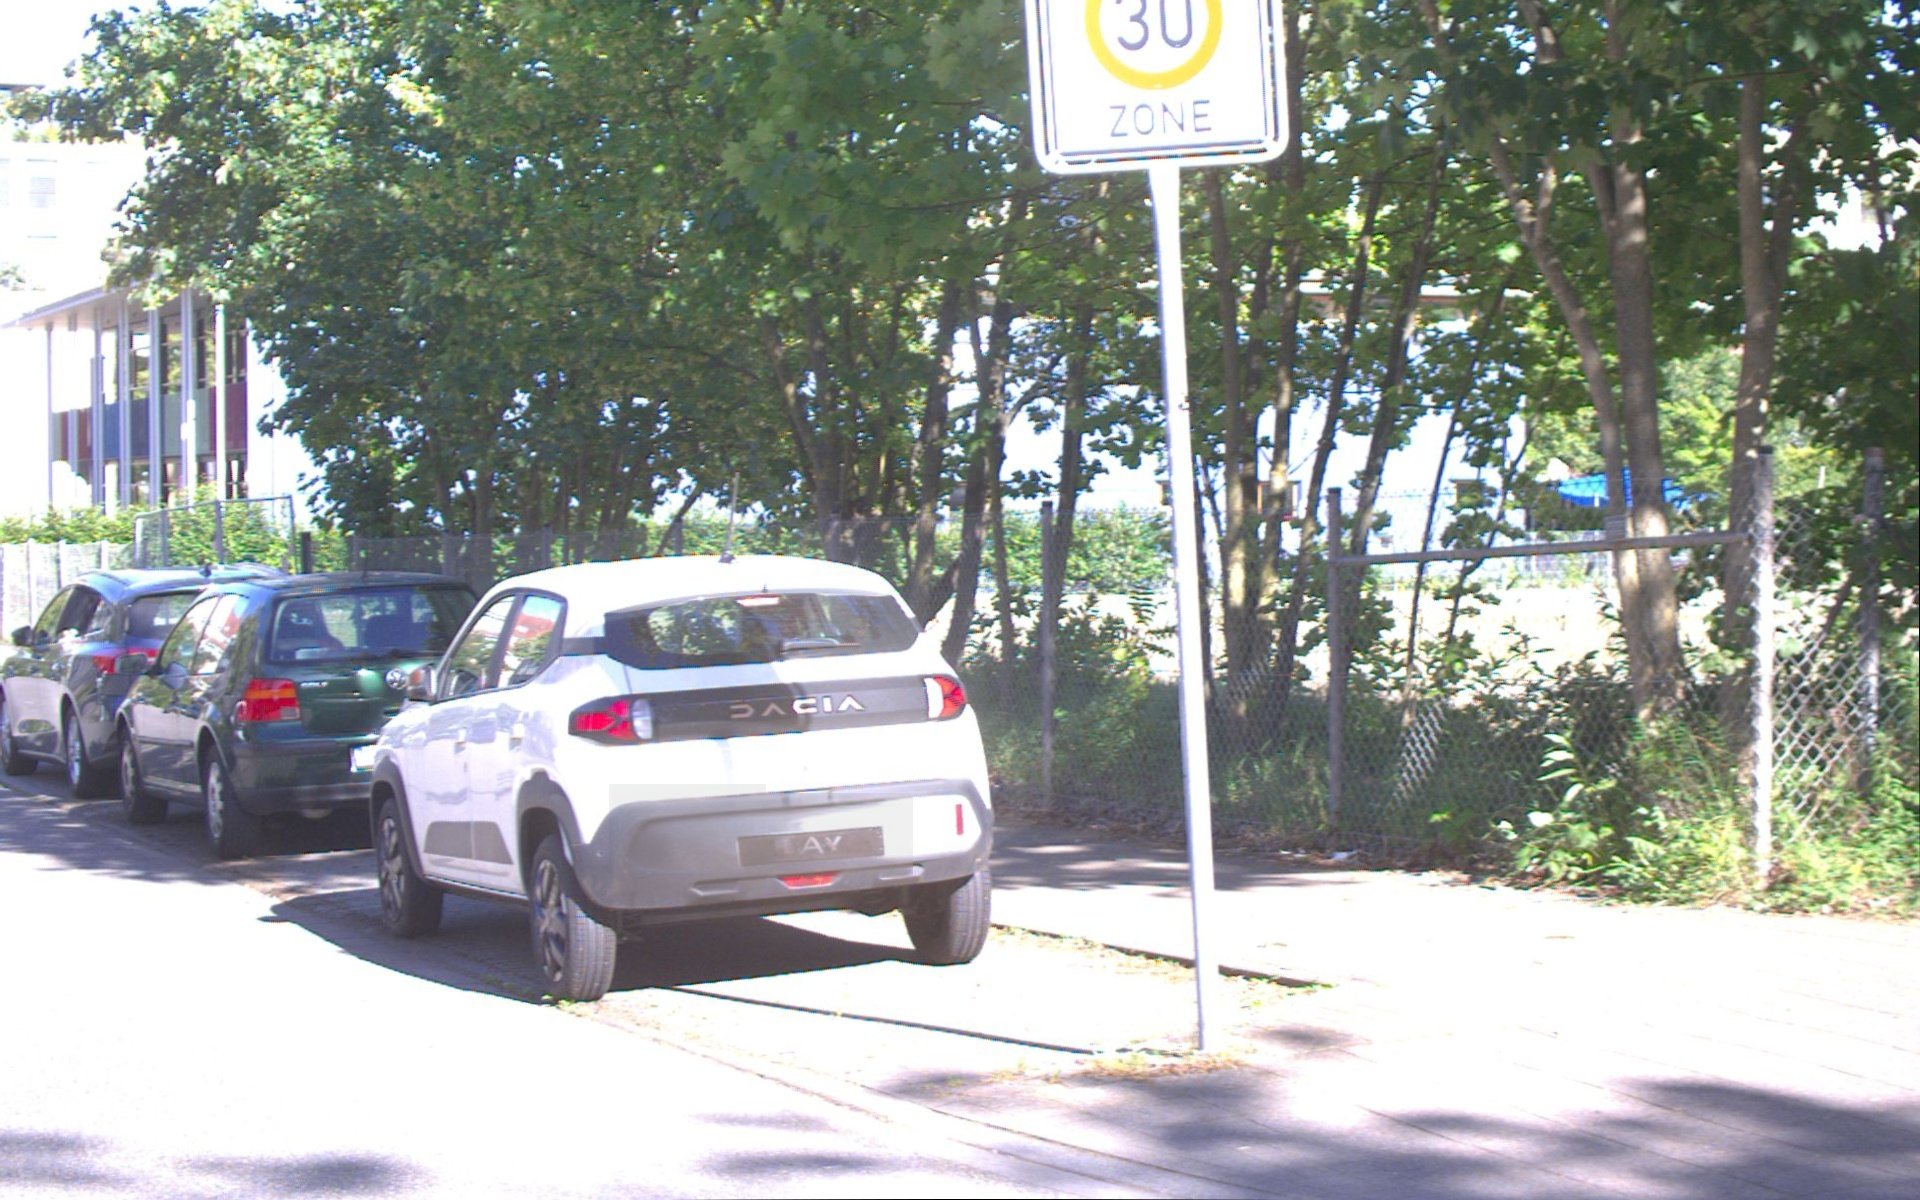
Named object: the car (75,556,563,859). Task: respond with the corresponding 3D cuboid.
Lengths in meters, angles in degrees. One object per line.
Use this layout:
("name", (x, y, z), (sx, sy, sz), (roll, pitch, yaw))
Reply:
("car", (-3.660, 0.498, 19.053), (1.824, 1.467, 4.069), (-1, 1, -23))

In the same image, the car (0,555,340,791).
("car", (-5.627, 0.417, 23.512), (1.676, 1.433, 4.440), (-1, 1, -24))

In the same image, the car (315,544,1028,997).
("car", (-1.281, 0.549, 13.274), (1.619, 1.446, 4.091), (-1, 0, -22))
